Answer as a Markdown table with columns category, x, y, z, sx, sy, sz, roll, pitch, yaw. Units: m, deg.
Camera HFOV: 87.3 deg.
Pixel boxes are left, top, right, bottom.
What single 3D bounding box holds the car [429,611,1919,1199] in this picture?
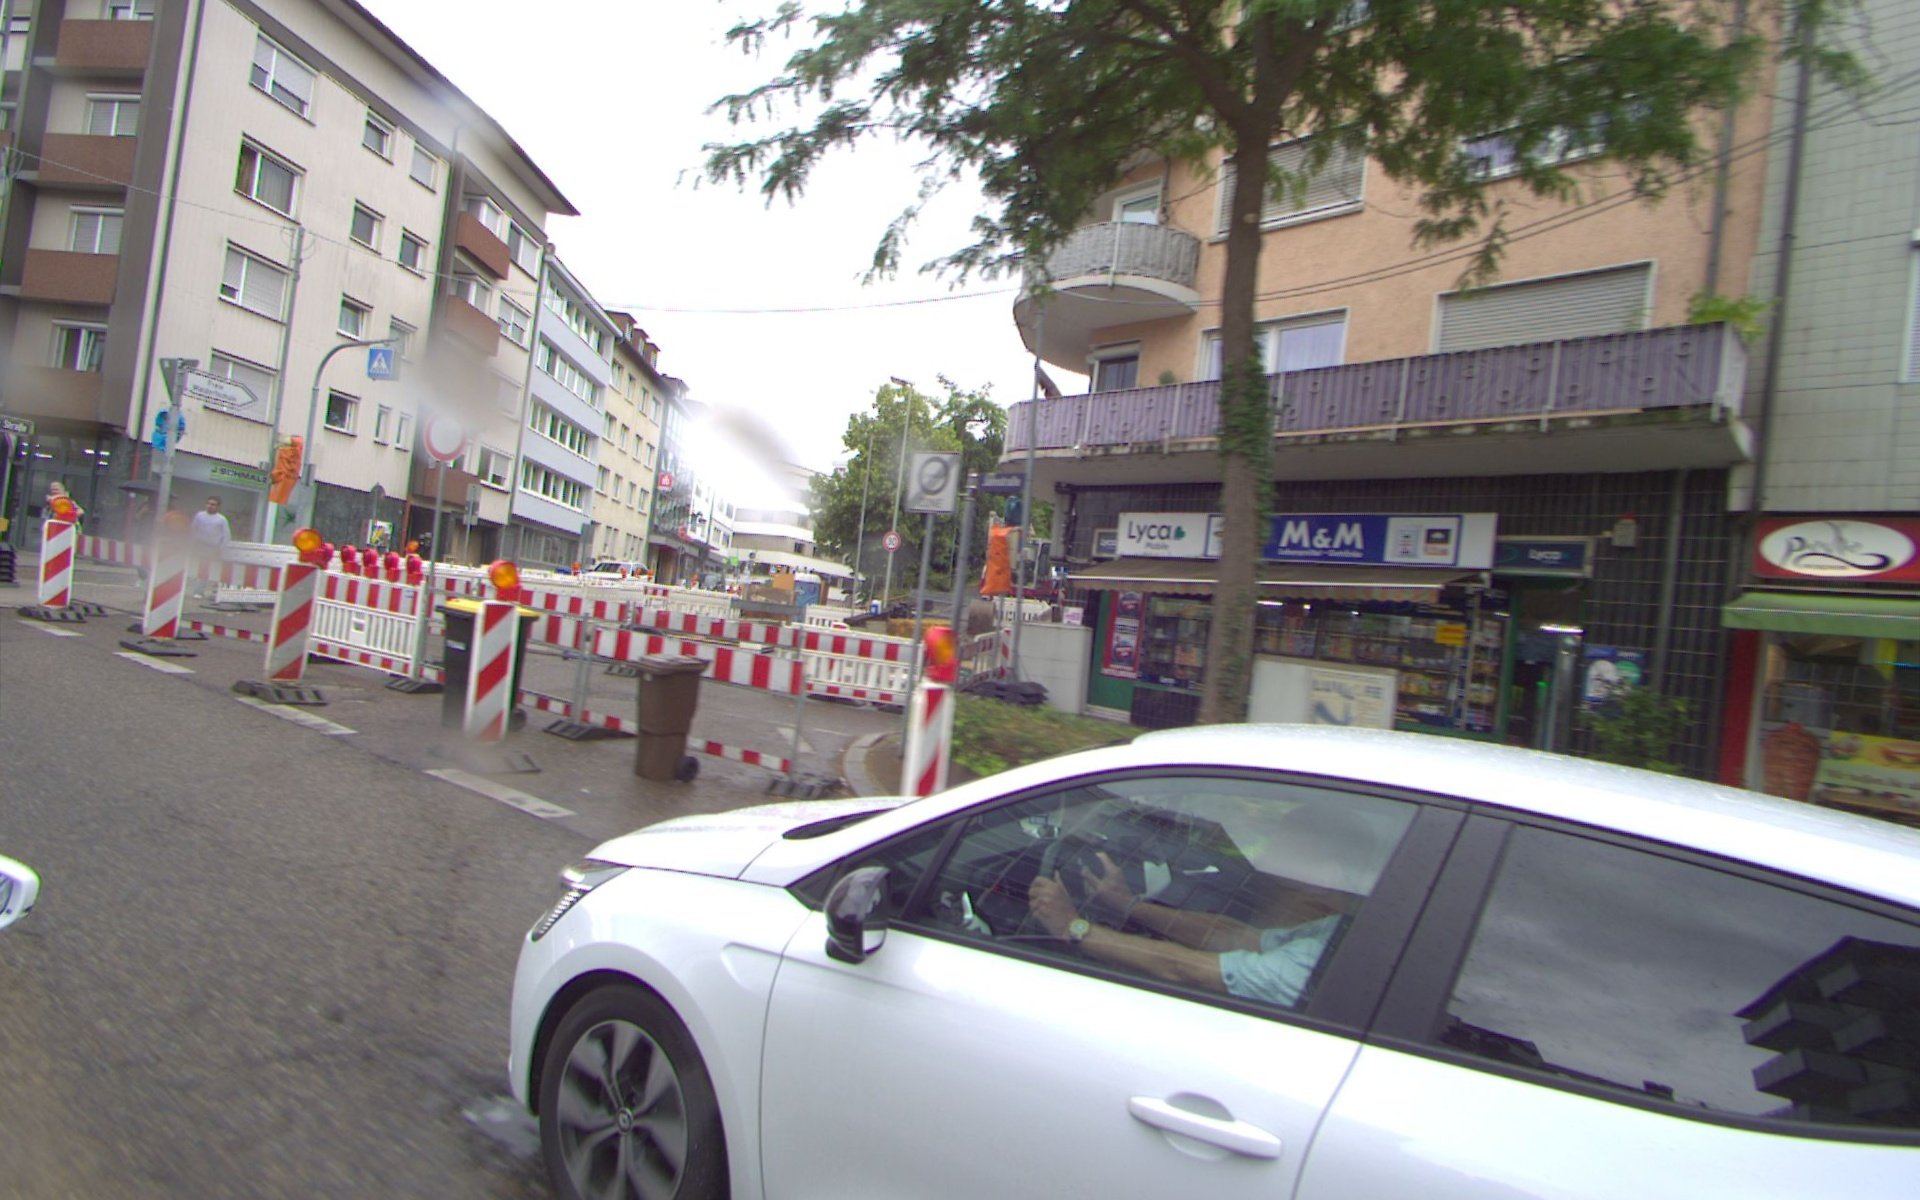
| category | x | y | z | sx | sy | sz | roll | pitch | yaw |
| --- | --- | --- | --- | --- | --- | --- | --- | --- | --- |
| car | 0.666 | 0.963 | 2.371 | 3.937 | 1.421 | 1.677 | 6 | 0 | 34 |

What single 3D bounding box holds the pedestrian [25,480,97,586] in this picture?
| category | x | y | z | sx | sy | sz | roll | pitch | yaw |
| --- | --- | --- | --- | --- | --- | --- | --- | --- | --- |
| pedestrian | -15.486 | -1.137 | 17.321 | 0.811 | 1.709 | 0.789 | 4 | 0 | 45 |

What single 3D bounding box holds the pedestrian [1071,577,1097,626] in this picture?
| category | x | y | z | sx | sy | sz | roll | pitch | yaw |
| --- | --- | --- | --- | --- | --- | --- | --- | --- | --- |
| pedestrian | 4.978 | 0.049 | 40.415 | 0.754 | 1.837 | 0.810 | 7 | 4 | 2 |

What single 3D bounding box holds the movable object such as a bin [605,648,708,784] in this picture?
| category | x | y | z | sx | sy | sz | roll | pitch | yaw |
| --- | --- | --- | --- | --- | --- | --- | --- | --- | --- |
| movable object such as a bin | -2.332 | 0.876 | 7.731 | 0.522 | 0.941 | 0.420 | 8 | 2 | 29 |

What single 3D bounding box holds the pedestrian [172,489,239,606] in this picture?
| category | x | y | z | sx | sy | sz | roll | pitch | yaw |
| --- | --- | --- | --- | --- | --- | --- | --- | --- | --- |
| pedestrian | -13.004 | -0.890 | 17.364 | 0.650 | 1.903 | 0.987 | 5 | 0 | -28 |

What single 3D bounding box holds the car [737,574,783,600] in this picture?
| category | x | y | z | sx | sy | sz | roll | pitch | yaw |
| --- | --- | --- | --- | --- | --- | --- | --- | --- | --- |
| car | -20.210 | -1.298 | 101.750 | 4.018 | 2.035 | 2.004 | 7 | -3 | 6 |

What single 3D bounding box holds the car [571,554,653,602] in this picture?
| category | x | y | z | sx | sy | sz | roll | pitch | yaw |
| --- | --- | --- | --- | --- | --- | --- | --- | --- | --- |
| car | -14.889 | -0.900 | 43.323 | 1.964 | 1.742 | 4.794 | 6 | 0 | -4 |

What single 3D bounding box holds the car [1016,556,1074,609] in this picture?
| category | x | y | z | sx | sy | sz | roll | pitch | yaw |
| --- | --- | --- | --- | --- | --- | --- | --- | --- | --- |
| car | 3.454 | -0.749 | 40.471 | 1.730 | 1.750 | 3.711 | 8 | 6 | 10 |

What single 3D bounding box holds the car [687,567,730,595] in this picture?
| category | x | y | z | sx | sy | sz | roll | pitch | yaw |
| --- | --- | --- | --- | --- | --- | --- | --- | --- | --- |
| car | -16.878 | -1.245 | 67.698 | 1.893 | 1.623 | 3.997 | 8 | 0 | -3 |

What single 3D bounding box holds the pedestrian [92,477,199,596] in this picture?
| category | x | y | z | sx | sy | sz | roll | pitch | yaw |
| --- | --- | --- | --- | --- | --- | --- | --- | --- | --- |
| pedestrian | -14.045 | -1.066 | 17.376 | 1.014 | 1.884 | 0.918 | 5 | 0 | -11 |

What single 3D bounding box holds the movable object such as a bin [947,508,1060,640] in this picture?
| category | x | y | z | sx | sy | sz | roll | pitch | yaw |
| --- | --- | --- | --- | --- | --- | --- | --- | --- | --- |
| movable object such as a bin | 1.616 | -0.937 | 33.758 | 2.690 | 3.688 | 6.528 | 7 | 4 | 9 |

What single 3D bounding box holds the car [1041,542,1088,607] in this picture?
| category | x | y | z | sx | sy | sz | roll | pitch | yaw |
| --- | --- | --- | --- | --- | --- | --- | --- | --- | --- |
| car | 5.054 | -1.286 | 48.395 | 1.855 | 2.655 | 5.087 | 7 | 6 | 6 |

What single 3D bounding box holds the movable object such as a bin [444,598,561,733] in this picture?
| category | x | y | z | sx | sy | sz | roll | pitch | yaw |
| --- | --- | --- | --- | --- | --- | --- | --- | --- | --- |
| movable object such as a bin | -3.903 | 0.554 | 8.597 | 0.522 | 1.044 | 0.621 | 8 | 1 | 29 |

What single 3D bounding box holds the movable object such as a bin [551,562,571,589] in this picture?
| category | x | y | z | sx | sy | sz | roll | pitch | yaw |
| --- | --- | --- | --- | --- | --- | --- | --- | --- | --- |
| movable object such as a bin | -17.402 | -1.077 | 43.913 | 0.521 | 1.059 | 0.539 | 7 | -3 | -1 |
